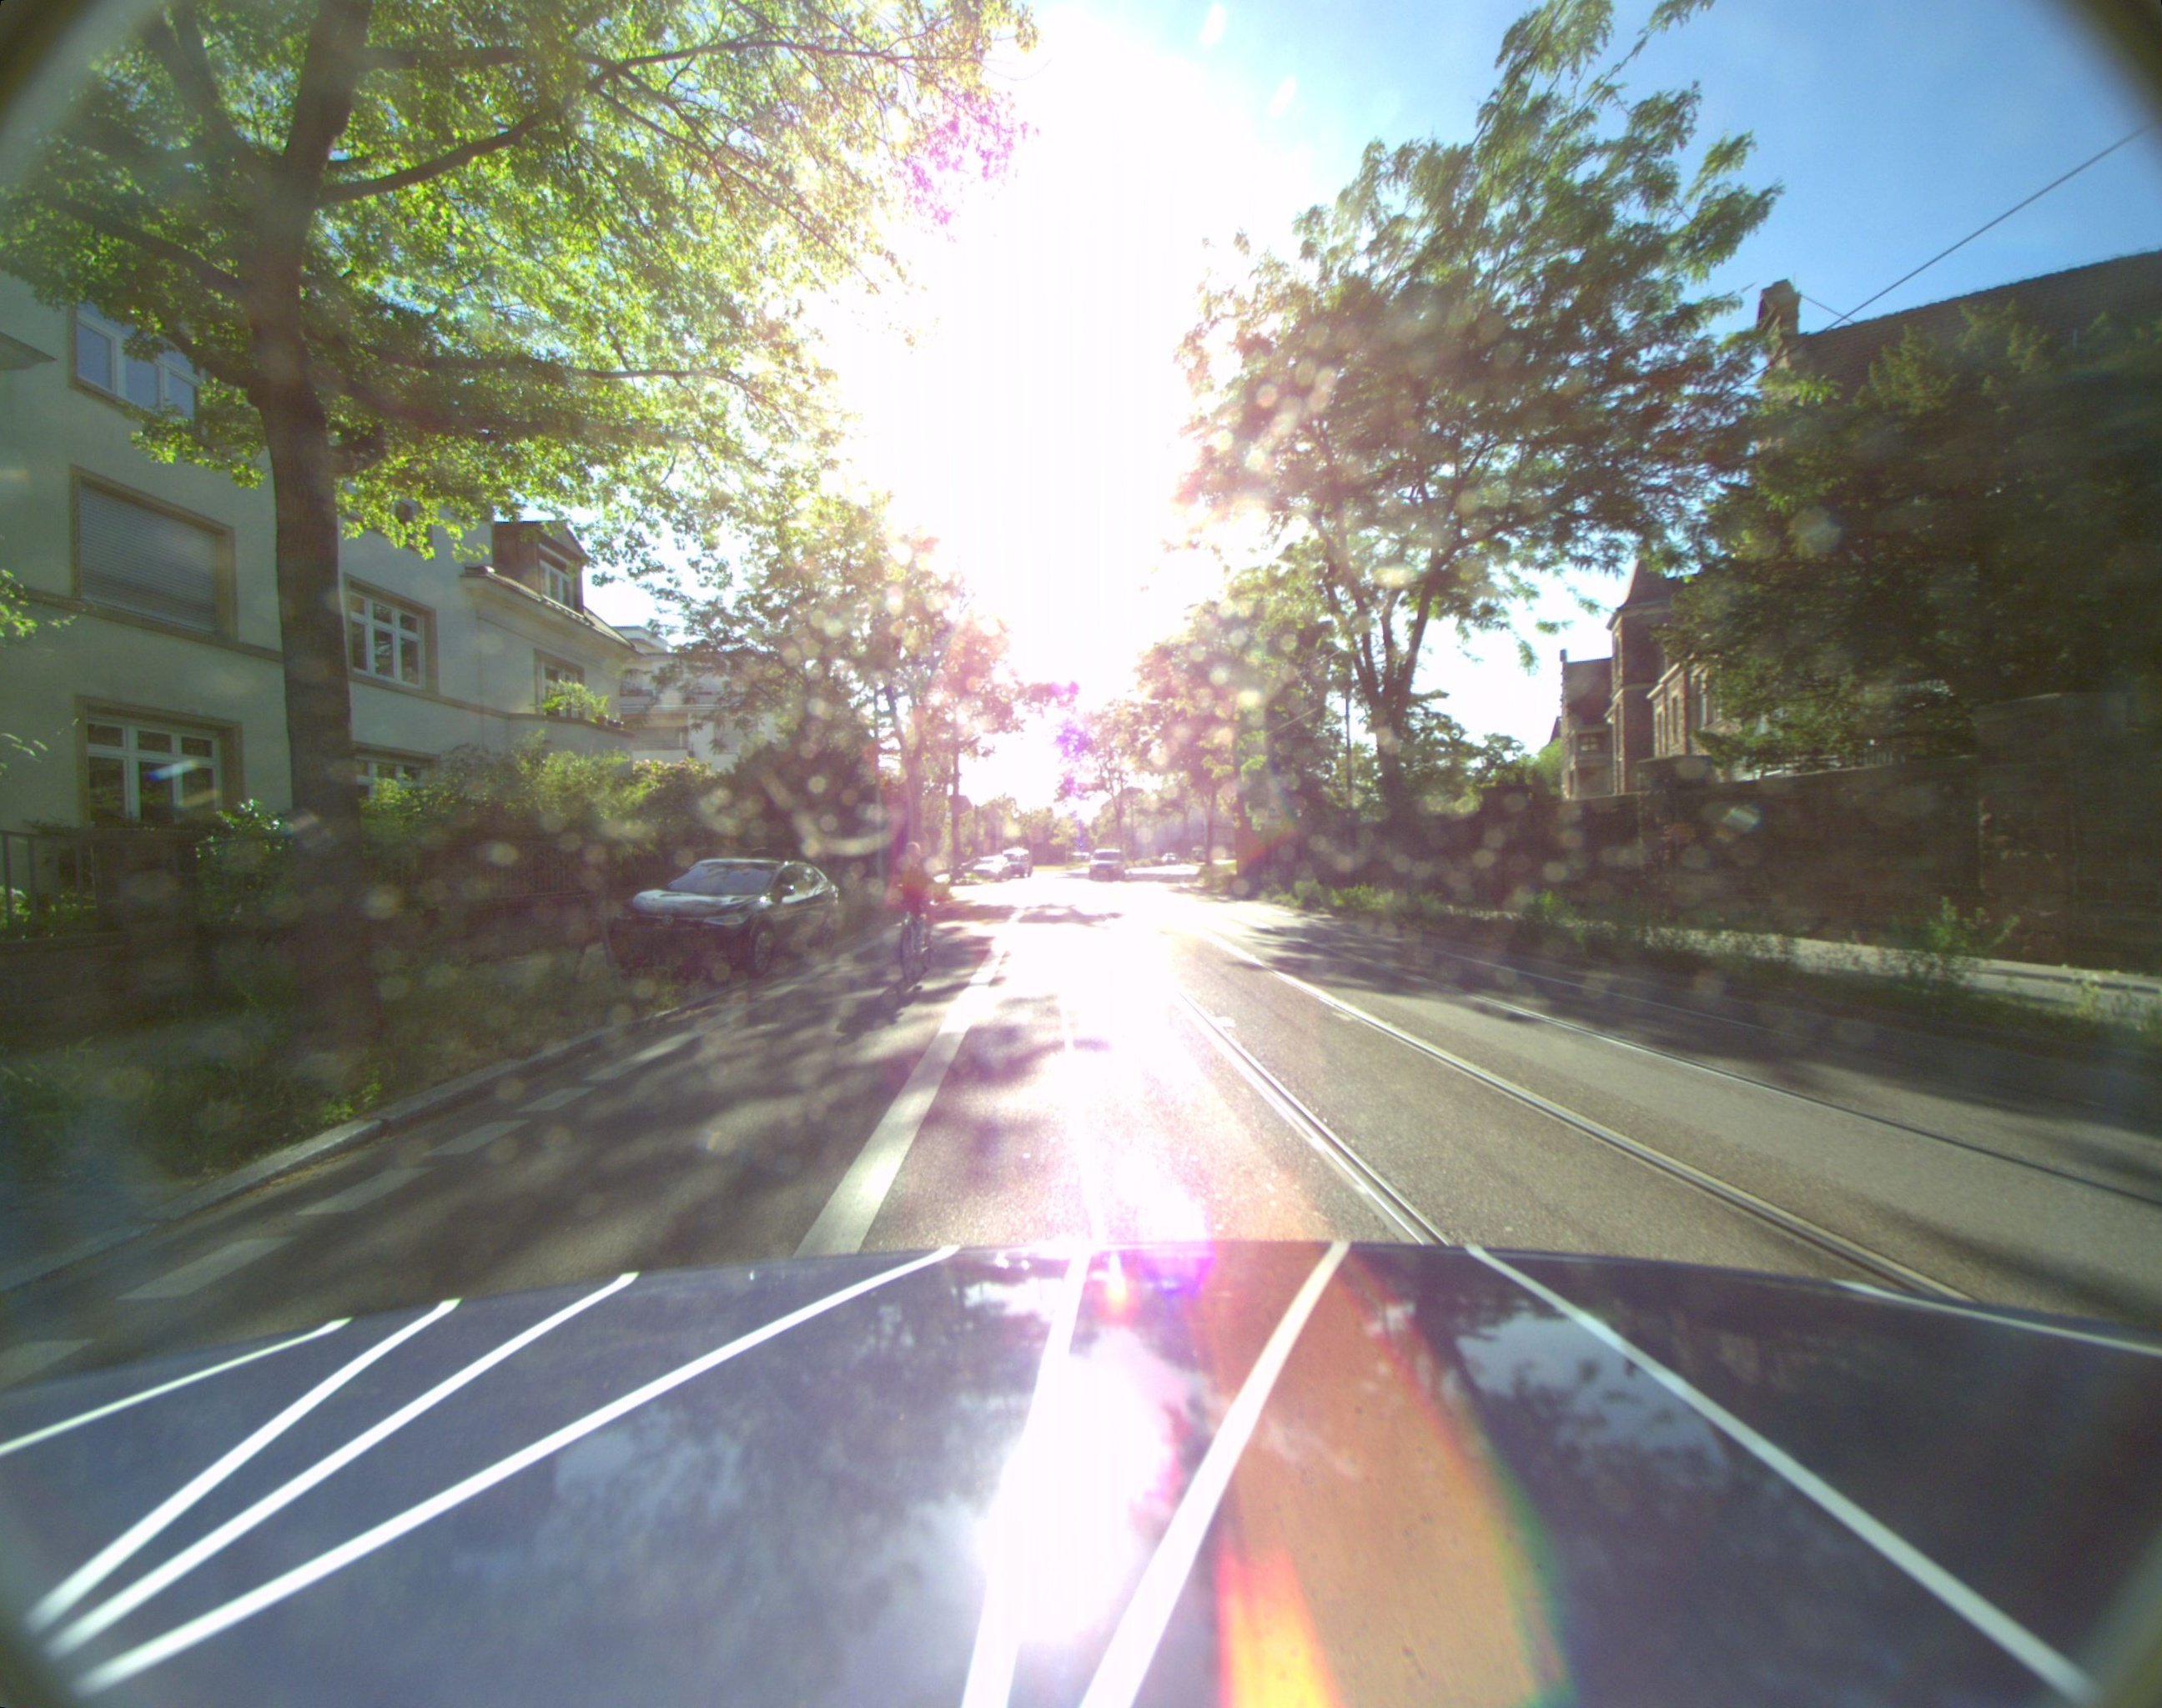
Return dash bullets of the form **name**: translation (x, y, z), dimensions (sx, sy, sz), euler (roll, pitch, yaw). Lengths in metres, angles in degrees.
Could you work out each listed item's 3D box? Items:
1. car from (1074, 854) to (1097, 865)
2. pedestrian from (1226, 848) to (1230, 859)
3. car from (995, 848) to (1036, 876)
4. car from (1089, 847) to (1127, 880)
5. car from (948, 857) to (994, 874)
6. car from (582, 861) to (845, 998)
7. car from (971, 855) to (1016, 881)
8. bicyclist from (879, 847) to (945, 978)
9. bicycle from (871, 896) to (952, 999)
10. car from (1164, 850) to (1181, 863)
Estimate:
- **car**: translation (0.755, 0.914, 128.786), dimensions (3.908, 1.683, 1.905), euler (-1, 1, -1)
- **pedestrian**: translation (24.297, -0.034, 125.806), dimensions (0.524, 1.823, 0.587), euler (-1, 1, 15)
- **car**: translation (-4.402, 0.505, 51.686), dimensions (1.900, 1.775, 4.670), euler (-1, 0, 6)
- **car**: translation (1.646, 0.515, 44.709), dimensions (1.876, 1.805, 4.969), euler (-1, 0, 6)
- **car**: translation (-10.041, 1.044, 69.535), dimensions (3.998, 1.433, 1.813), euler (-2, 0, -3)
- **car**: translation (-5.199, 0.948, 11.504), dimensions (1.919, 1.590, 4.258), euler (2, 0, -1)
- **car**: translation (-5.165, 0.793, 45.330), dimensions (1.901, 1.402, 4.260), euler (-1, 0, 4)
- **bicyclist**: translation (-2.203, 0.743, 9.987), dimensions (0.644, 1.632, 0.665), euler (-2, 1, 1)
- **bicycle**: translation (-2.177, 1.161, 9.979), dimensions (0.588, 1.105, 1.855), euler (-2, 0, 1)
- **car**: translation (11.916, 0.313, 98.717), dimensions (1.997, 1.539, 4.002), euler (-2, 0, 8)
